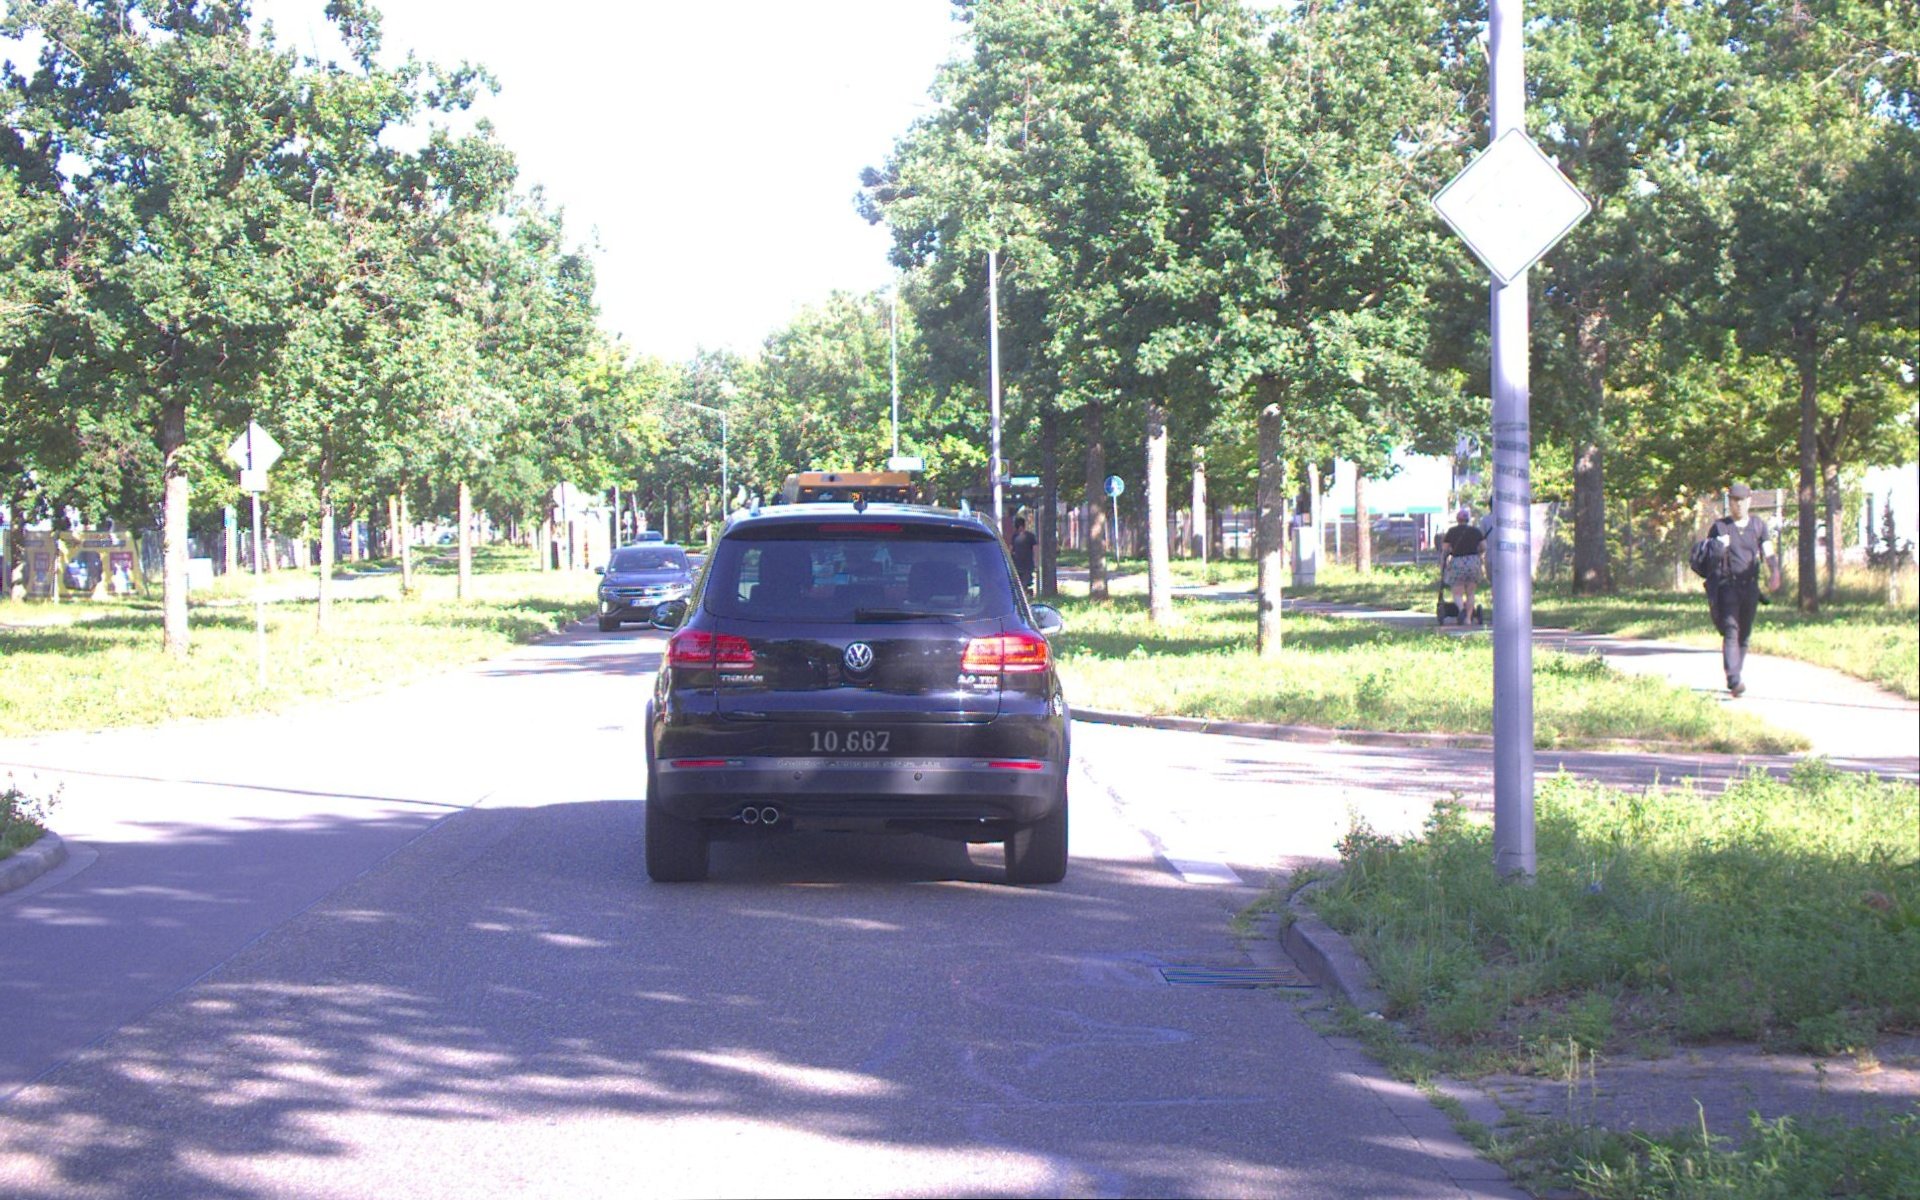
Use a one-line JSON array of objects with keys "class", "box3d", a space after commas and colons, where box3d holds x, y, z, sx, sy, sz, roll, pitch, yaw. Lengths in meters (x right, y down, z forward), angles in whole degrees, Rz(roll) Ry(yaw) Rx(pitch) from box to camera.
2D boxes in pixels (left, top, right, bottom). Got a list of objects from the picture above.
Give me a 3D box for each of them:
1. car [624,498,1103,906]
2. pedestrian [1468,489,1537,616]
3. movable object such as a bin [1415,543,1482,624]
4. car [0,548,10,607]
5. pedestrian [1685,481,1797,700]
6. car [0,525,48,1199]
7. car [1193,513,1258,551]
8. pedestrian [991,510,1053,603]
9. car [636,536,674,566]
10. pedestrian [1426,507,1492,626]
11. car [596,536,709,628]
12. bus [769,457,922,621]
[{"class": "car", "box3d": [-0.484, 0.360, 16.232, 1.936, 1.650, 4.428, 1, 1, -2]}, {"class": "pedestrian", "box3d": [7.632, -0.672, 48.352, 0.725, 1.749, 0.868, -3, 1, -2]}, {"class": "movable object such as a bin", "box3d": [6.822, -0.237, 48.040, 0.725, 1.077, 0.868, -3, 1, -2]}, {"class": "car", "box3d": [-28.561, -0.593, 95.407, 3.744, 1.612, 1.962, -1, 1, 13]}, {"class": "pedestrian", "box3d": [6.643, -0.092, 29.285, 0.725, 1.806, 0.868, -1, 4, -2]}, {"class": "car", "box3d": [-2.699, 0.703, 4.820, 1.765, 1.523, 4.496, -2, 2, -2]}, {"class": "car", "box3d": [12.598, -3.222, 163.271, 2.184, 1.738, 4.643, -1, 1, -7]}, {"class": "pedestrian", "box3d": [1.117, -0.796, 62.296, 1.019, 1.646, 1.100, -1, 1, -2]}, {"class": "car", "box3d": [-15.596, -2.513, 175.820, 1.744, 1.460, 4.428, -2, 2, -3]}, {"class": "pedestrian", "box3d": [6.841, -0.463, 47.194, 0.725, 1.597, 0.868, -1, 1, -2]}, {"class": "car", "box3d": [-5.669, -0.367, 63.791, 1.804, 1.531, 4.496, -2, 2, -2]}, {"class": "bus", "box3d": [-2.735, -1.426, 78.713, 2.764, 3.444, 11.213, -1, 1, -5]}]
